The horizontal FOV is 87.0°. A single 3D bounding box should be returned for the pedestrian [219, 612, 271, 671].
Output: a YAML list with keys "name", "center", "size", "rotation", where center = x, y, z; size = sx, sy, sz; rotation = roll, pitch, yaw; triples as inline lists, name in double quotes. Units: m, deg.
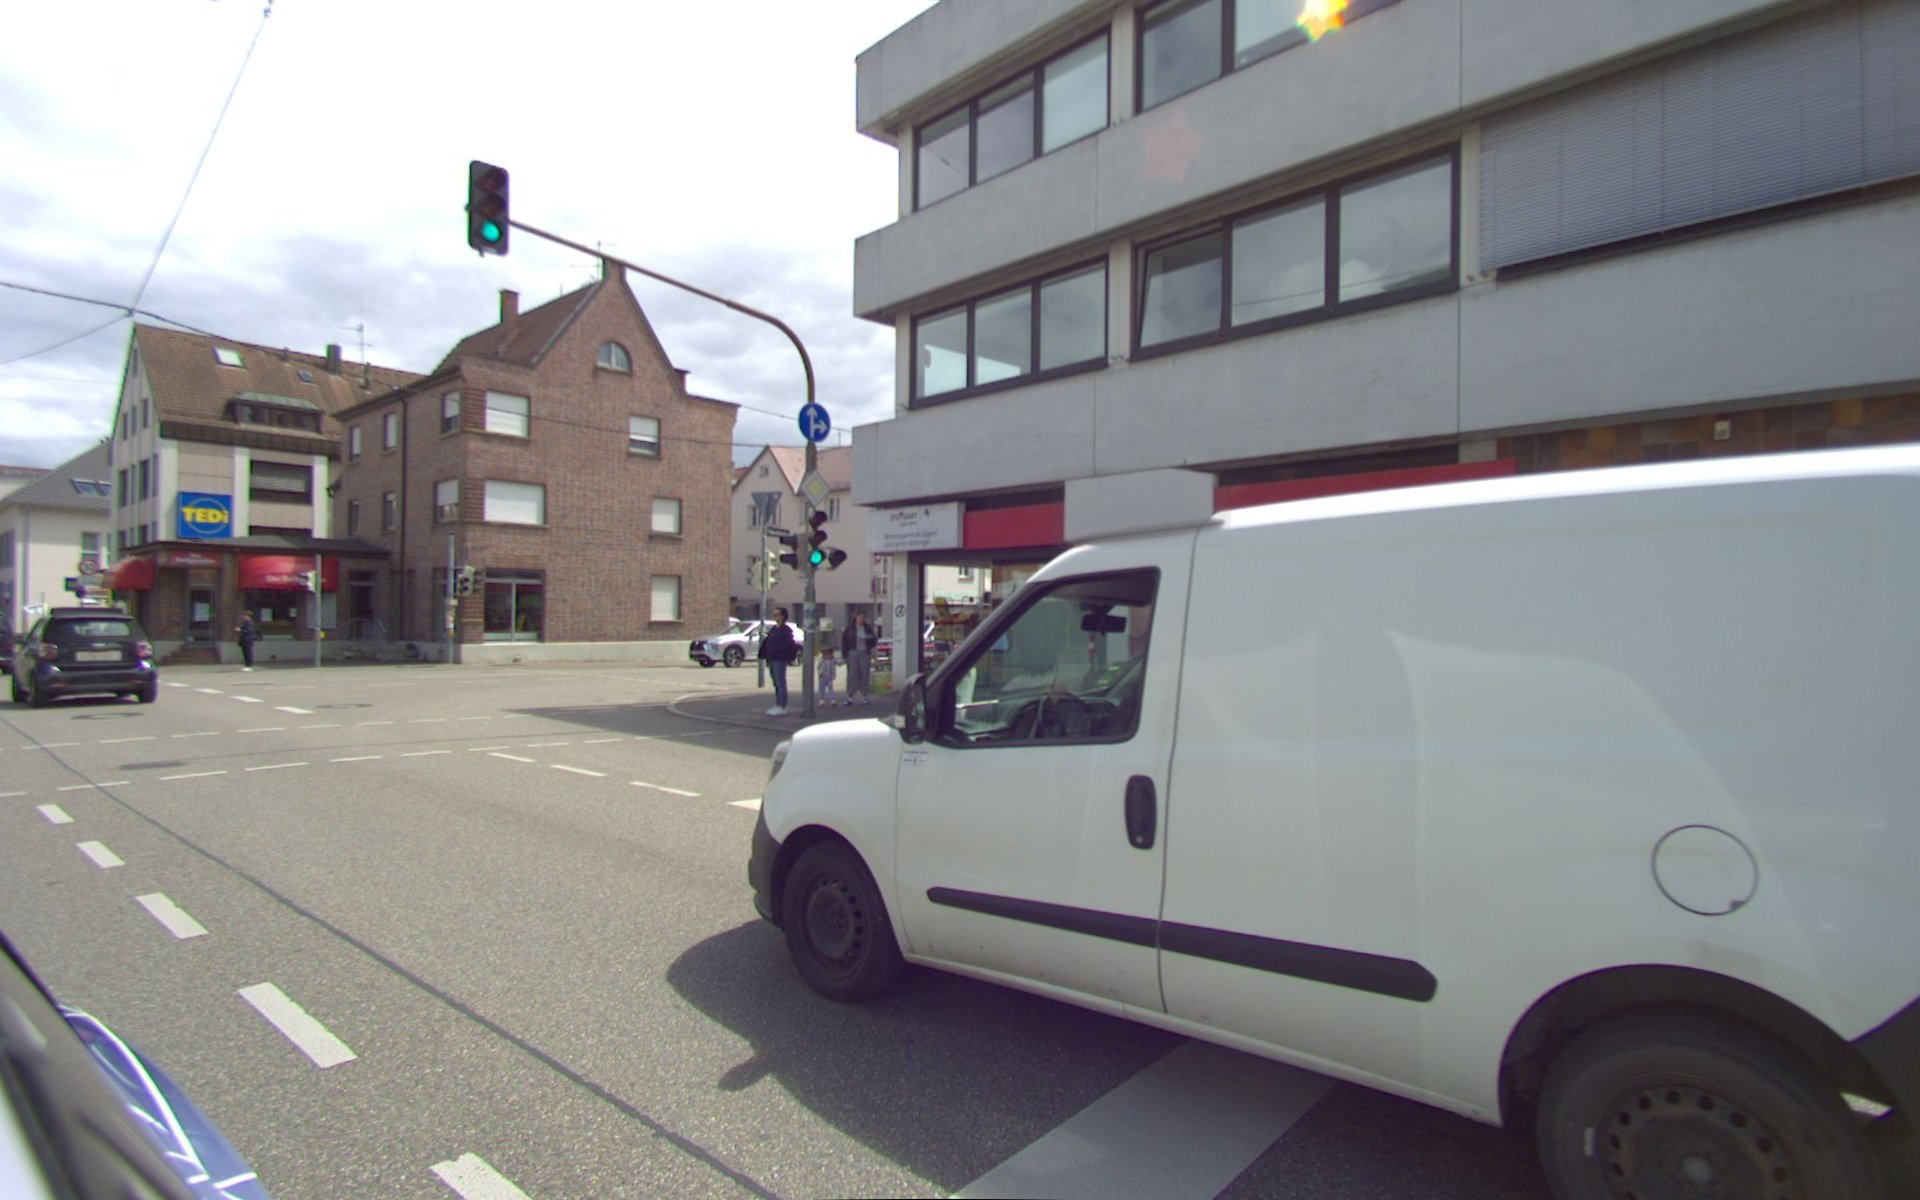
- name: "pedestrian"
  center: [-21.186, 1.223, 30.004]
  size: [0.839, 1.736, 0.906]
  rotation: [0, -2, 0]

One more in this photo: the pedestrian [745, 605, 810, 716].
- name: "pedestrian"
  center: [-2.811, 0.906, 15.597]
  size: [0.709, 1.657, 0.682]
  rotation: [0, -1, -44]

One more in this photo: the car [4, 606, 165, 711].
- name: "car"
  center: [-15.198, 0.965, 17.543]
  size: [2.831, 1.648, 1.660]
  rotation: [-1, -2, 40]

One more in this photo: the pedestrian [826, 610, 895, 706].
- name: "pedestrian"
  center: [-1.707, 0.969, 17.264]
  size: [0.809, 1.566, 0.846]
  rotation: [0, -1, -43]

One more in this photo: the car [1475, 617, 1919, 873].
- name: "car"
  center: [6.302, 0.848, 6.506]
  size: [2.021, 1.455, 4.955]
  rotation: [0, -1, -45]

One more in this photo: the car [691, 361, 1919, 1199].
- name: "car"
  center: [1.086, 0.543, 3.633]
  size: [4.276, 1.835, 1.925]
  rotation: [-1, -2, 42]

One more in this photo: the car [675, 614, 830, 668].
- name: "car"
  center: [-7.286, 1.452, 35.983]
  size: [2.001, 1.782, 5.184]
  rotation: [-2, -3, 44]

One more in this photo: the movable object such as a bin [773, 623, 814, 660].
- name: "movable object such as a bin"
  center: [-7.740, 1.914, 46.990]
  size: [1.145, 1.637, 1.498]
  rotation: [-1, 0, 45]

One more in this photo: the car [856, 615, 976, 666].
- name: "car"
  center: [-1.572, 1.502, 37.465]
  size: [1.999, 1.768, 4.291]
  rotation: [-1, -3, 42]

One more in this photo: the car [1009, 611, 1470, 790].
- name: "car"
  center: [2.803, 0.894, 10.758]
  size: [4.285, 1.486, 2.022]
  rotation: [-1, -1, 43]

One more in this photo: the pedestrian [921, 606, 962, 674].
- name: "pedestrian"
  center: [-0.483, 1.055, 26.917]
  size: [0.815, 1.753, 0.840]
  rotation: [-1, -1, 21]

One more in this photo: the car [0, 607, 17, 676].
- name: "car"
  center: [-28.572, 1.155, 28.845]
  size: [4.874, 1.891, 1.928]
  rotation: [-1, -2, 41]

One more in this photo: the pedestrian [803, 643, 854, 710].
- name: "pedestrian"
  center: [-2.190, 1.267, 16.896]
  size: [0.552, 1.065, 0.663]
  rotation: [0, -1, -43]

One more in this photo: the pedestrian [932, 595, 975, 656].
- name: "pedestrian"
  center: [-0.174, 0.698, 27.966]
  size: [0.820, 1.663, 0.835]
  rotation: [-1, -1, 39]

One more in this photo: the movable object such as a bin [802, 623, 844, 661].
- name: "movable object such as a bin"
  center: [-6.176, 1.899, 45.691]
  size: [1.145, 1.637, 1.498]
  rotation: [-1, 0, 45]

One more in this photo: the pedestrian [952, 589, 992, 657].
- name: "pedestrian"
  center: [0.315, 0.598, 26.529]
  size: [0.814, 1.753, 0.841]
  rotation: [-1, -1, 17]
